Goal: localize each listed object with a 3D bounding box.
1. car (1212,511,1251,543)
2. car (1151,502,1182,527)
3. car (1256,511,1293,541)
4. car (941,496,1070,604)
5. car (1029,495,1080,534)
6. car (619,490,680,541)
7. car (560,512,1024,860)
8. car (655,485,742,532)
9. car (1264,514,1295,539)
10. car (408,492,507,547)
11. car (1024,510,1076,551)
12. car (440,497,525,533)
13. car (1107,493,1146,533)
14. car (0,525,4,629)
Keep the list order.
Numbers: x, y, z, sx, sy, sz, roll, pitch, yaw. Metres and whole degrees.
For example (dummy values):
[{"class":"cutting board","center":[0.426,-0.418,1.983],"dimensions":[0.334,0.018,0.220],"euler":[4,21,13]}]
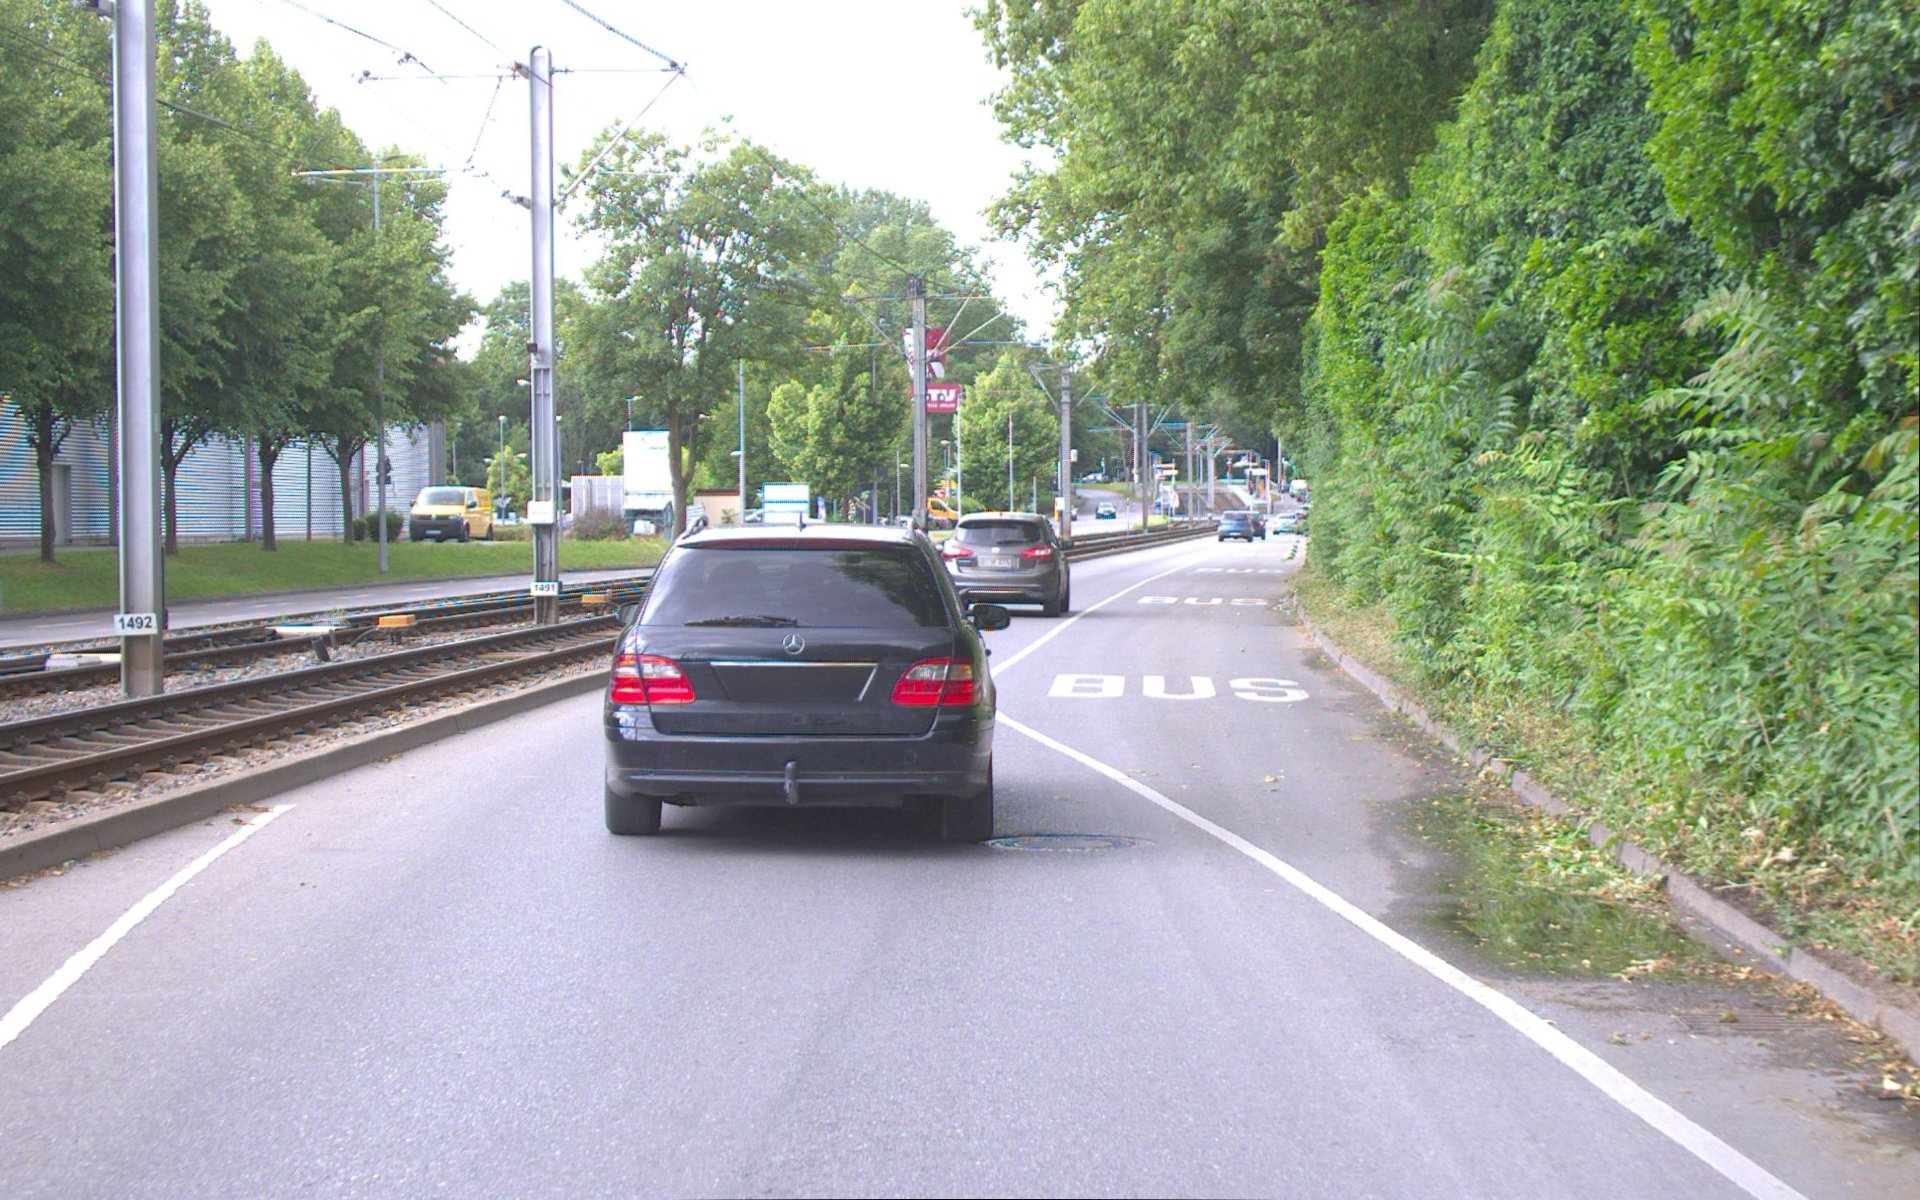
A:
[{"class":"car","center":[13.153,-3.551,166.965],"dimensions":[1.825,1.524,4.415],"euler":[1,2,4]},{"class":"car","center":[12.916,-5.316,214.883],"dimensions":[1.825,1.524,4.179],"euler":[1,2,4]},{"class":"car","center":[16.320,-3.844,178.428],"dimensions":[1.825,1.524,4.179],"euler":[1,2,4]},{"class":"car","center":[0.715,-0.771,51.340],"dimensions":[1.825,1.524,4.416],"euler":[1,2,2]},{"class":"car","center":[3.796,-3.431,137.636],"dimensions":[1.825,1.524,3.986],"euler":[1,2,4]},{"class":"car","center":[-12.982,-3.523,143.864],"dimensions":[1.993,2.007,4.000],"euler":[-2,1,2]},{"class":"car","center":[-0.683,0.322,16.958],"dimensions":[1.833,1.473,4.415],"euler":[1,1,3]},{"class":"car","center":[-12.488,-4.356,164.433],"dimensions":[3.986,2.116,2.000],"euler":[-2,1,-2]},{"class":"car","center":[19.961,-4.578,214.912],"dimensions":[1.825,1.524,4.179],"euler":[1,2,4]},{"class":"car","center":[-16.555,-2.657,113.500],"dimensions":[1.994,1.737,4.986],"euler":[-1,1,6]},{"class":"car","center":[3.497,-2.707,132.903],"dimensions":[1.825,1.524,3.986],"euler":[1,2,4]},{"class":"car","center":[-23.482,-4.175,169.035],"dimensions":[3.986,1.674,2.001],"euler":[-2,1,-12]},{"class":"car","center":[8.585,-4.488,177.492],"dimensions":[1.892,2.007,3.898],"euler":[-2,1,3]},{"class":"car","center":[-13.846,-0.278,44.229],"dimensions":[1.660,1.388,3.718],"euler":[0,1,7]}]
